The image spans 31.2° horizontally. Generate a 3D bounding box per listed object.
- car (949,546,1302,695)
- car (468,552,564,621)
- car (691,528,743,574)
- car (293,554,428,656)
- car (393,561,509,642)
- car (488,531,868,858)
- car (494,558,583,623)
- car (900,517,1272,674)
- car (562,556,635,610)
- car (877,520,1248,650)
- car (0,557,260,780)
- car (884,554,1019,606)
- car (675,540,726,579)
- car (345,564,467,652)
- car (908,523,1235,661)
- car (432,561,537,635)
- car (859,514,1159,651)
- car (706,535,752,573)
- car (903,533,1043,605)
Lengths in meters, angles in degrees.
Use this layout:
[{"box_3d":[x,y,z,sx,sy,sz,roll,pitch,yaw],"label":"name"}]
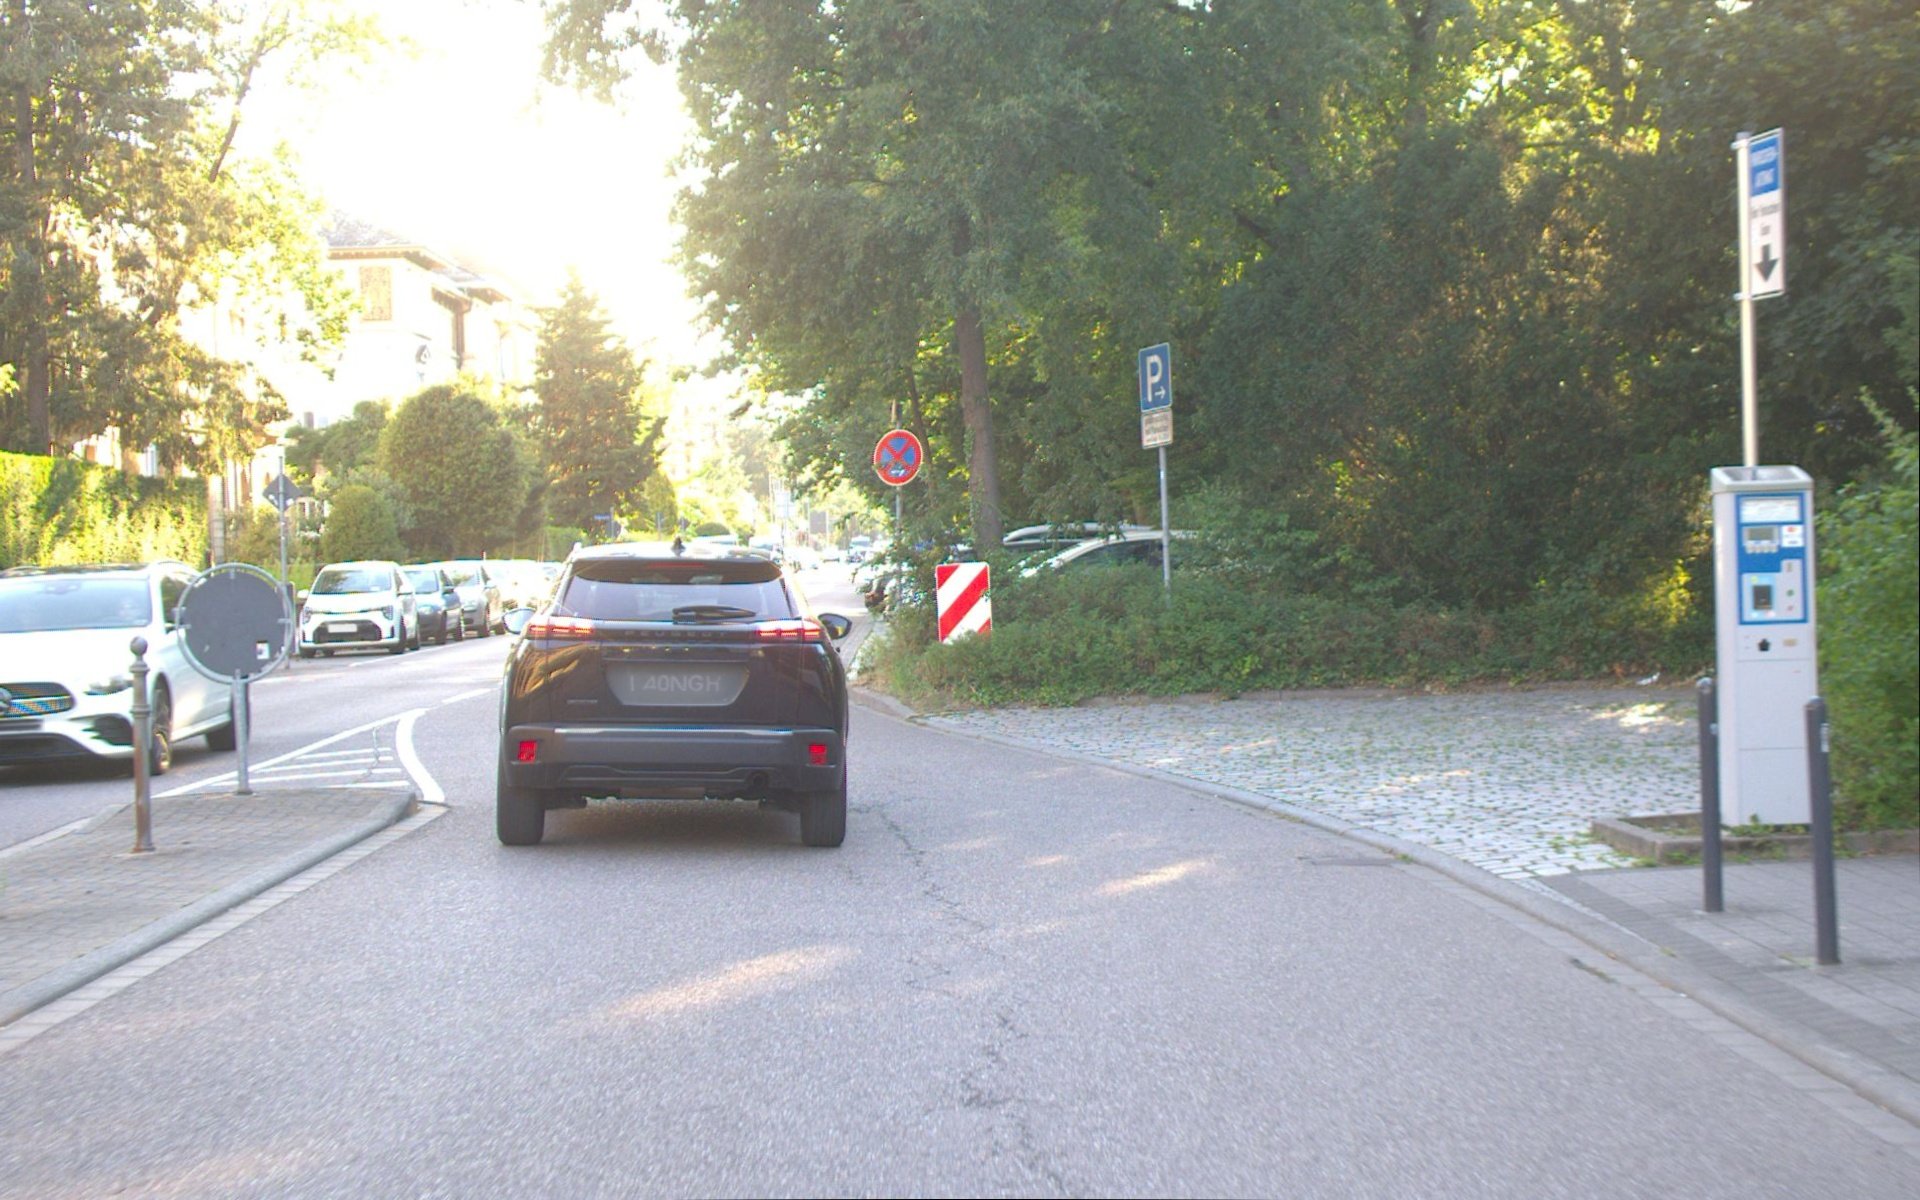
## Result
[{"box_3d":[1.896,0.223,40.284,3.987,1.549,1.726,-2,2,-1],"label":"car"},{"box_3d":[-9.952,-0.320,77.319,1.613,1.461,4.036,-2,1,0],"label":"car"},{"box_3d":[-10.874,-2.191,154.280,1.993,2.007,4.000,-1,1,0],"label":"car"},{"box_3d":[-9.672,0.062,55.685,1.613,1.510,3.712,-3,1,-3],"label":"car"},{"box_3d":[-9.751,0.009,66.075,1.613,1.461,4.036,-2,1,0],"label":"car"},{"box_3d":[-1.425,0.421,18.759,1.771,1.563,4.109,1,1,-1],"label":"car"},{"box_3d":[-10.024,-0.250,82.042,1.613,1.461,4.036,-2,1,0],"label":"car"},{"box_3d":[1.352,-0.070,38.053,3.987,1.549,1.726,-2,2,-1],"label":"car"},{"box_3d":[-10.323,-0.499,98.328,1.752,1.409,3.765,-3,1,-2],"label":"car"},{"box_3d":[1.342,-0.228,45.288,4.483,1.549,1.857,-2,2,-19],"label":"car"},{"box_3d":[-6.422,0.447,25.111,1.741,1.453,4.624,-2,1,-1],"label":"car"},{"box_3d":[-0.286,-0.627,105.772,3.986,1.520,1.758,-1,1,-5],"label":"car"},{"box_3d":[-10.826,-1.697,143.625,1.899,1.568,4.000,-1,1,-1],"label":"car"},{"box_3d":[-9.850,0.121,61.300,1.613,1.480,3.742,-2,1,-1],"label":"car"},{"box_3d":[1.362,-0.120,43.155,3.987,1.549,1.752,-2,2,-1],"label":"car"},{"box_3d":[-9.911,-0.065,71.848,1.613,1.461,4.036,-2,1,0],"label":"car"},{"box_3d":[0.690,-0.270,51.281,4.306,1.798,2.036,-3,1,-2],"label":"car"},{"box_3d":[-11.144,-2.220,166.152,1.993,1.762,4.000,-1,1,-1],"label":"car"},{"box_3d":[0.372,-0.939,103.007,3.986,2.082,1.758,-1,1,-5],"label":"car"}]
